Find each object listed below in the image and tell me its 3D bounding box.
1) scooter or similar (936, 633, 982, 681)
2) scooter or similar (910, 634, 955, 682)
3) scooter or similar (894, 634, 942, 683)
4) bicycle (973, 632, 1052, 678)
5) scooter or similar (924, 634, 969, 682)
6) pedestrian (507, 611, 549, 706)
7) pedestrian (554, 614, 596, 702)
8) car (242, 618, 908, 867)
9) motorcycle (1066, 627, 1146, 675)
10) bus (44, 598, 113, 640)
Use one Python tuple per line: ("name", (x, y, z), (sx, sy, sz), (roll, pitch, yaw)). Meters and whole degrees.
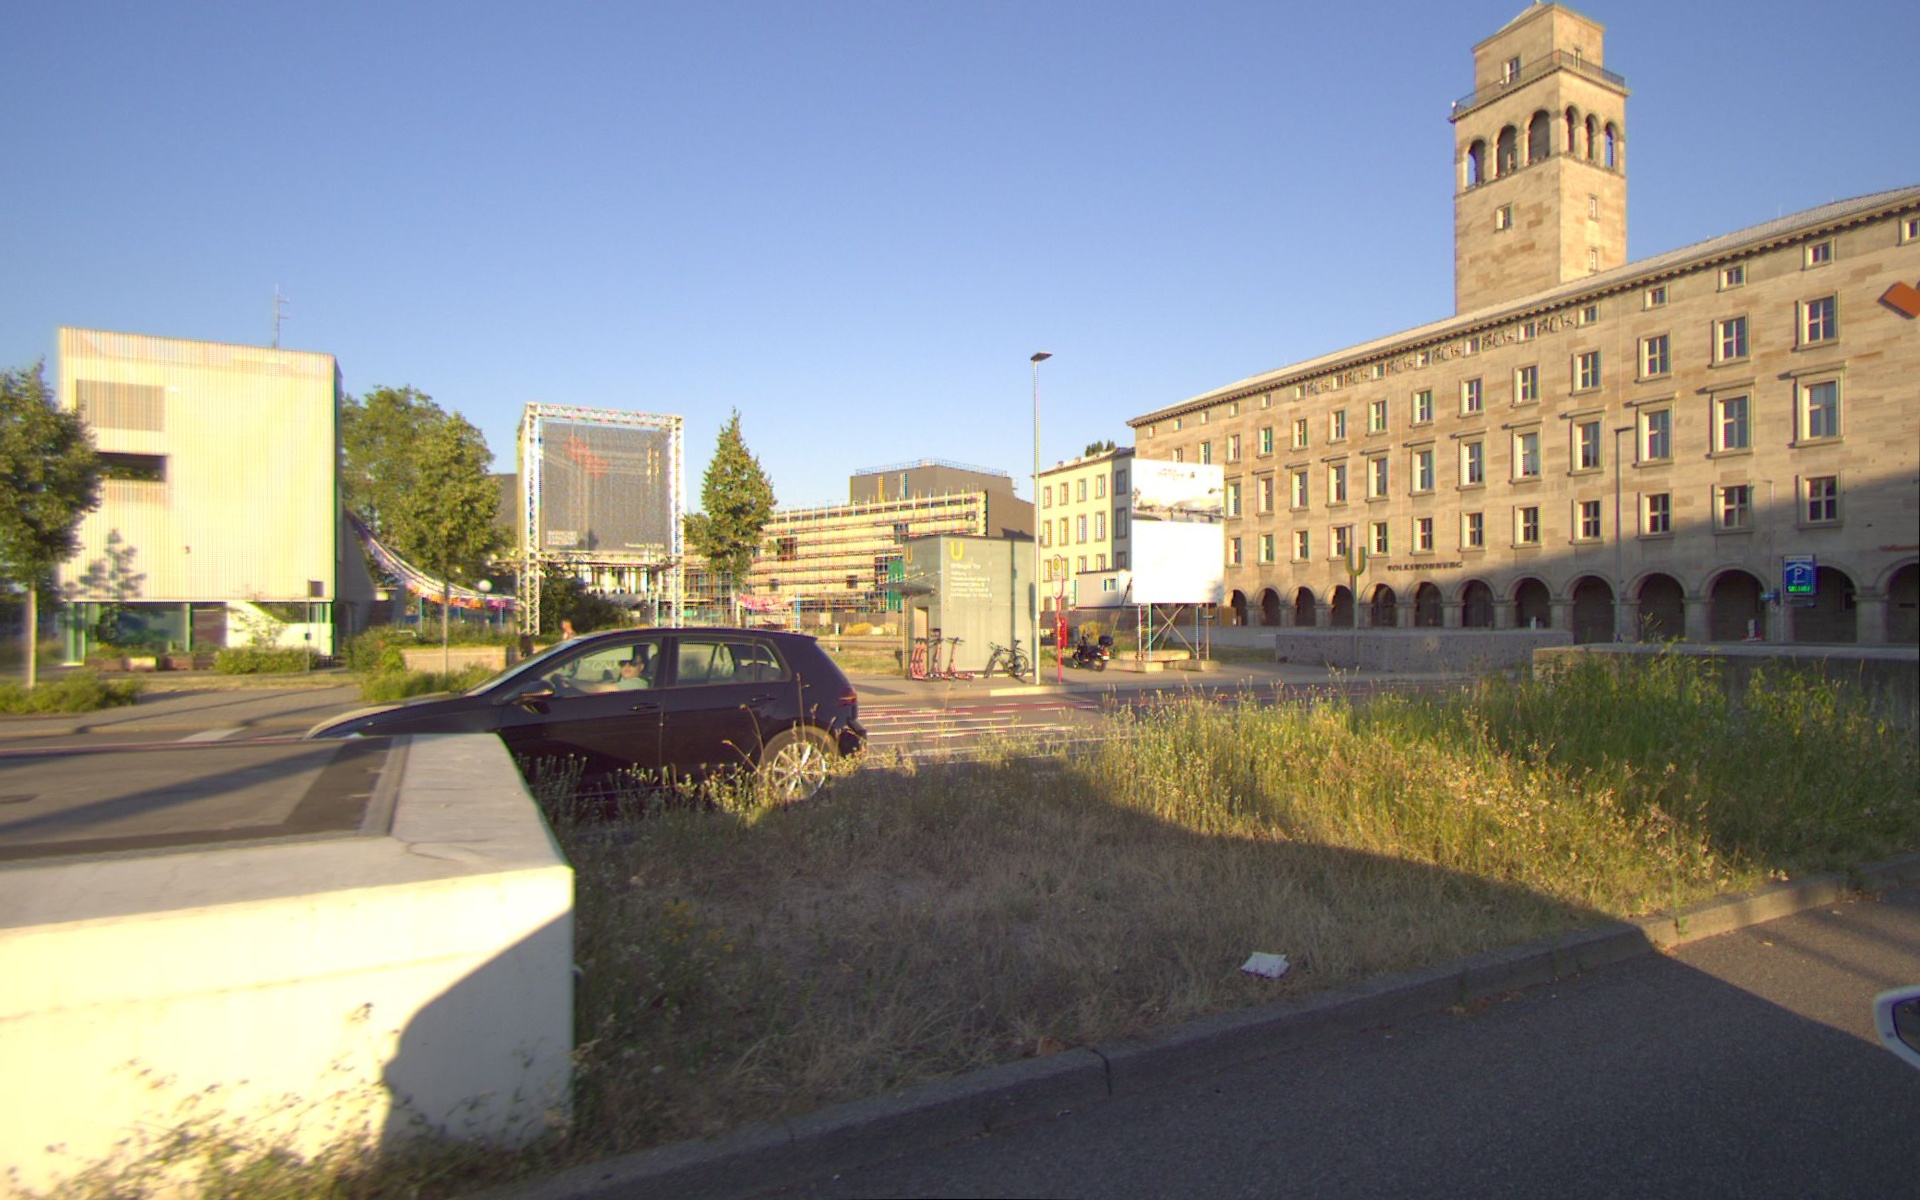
("scooter or similar", (-0.041, 1.652, 29.395), (0.419, 1.322, 1.824), (1, -1, -33))
("scooter or similar", (-0.809, 1.652, 28.893), (0.413, 1.322, 1.776), (1, -1, -33))
("scooter or similar", (-1.213, 1.639, 28.589), (0.495, 1.322, 1.847), (1, -1, -33))
("bicycle", (1.610, 1.640, 30.502), (2.480, 1.341, 0.614), (1, -1, -30))
("scooter or similar", (-0.406, 1.652, 29.152), (0.419, 1.322, 1.819), (1, -1, -33))
("pedestrian", (-9.167, 1.222, 21.286), (0.765, 1.959, 0.629), (-1, 1, -27))
("pedestrian", (-8.333, 1.234, 21.738), (0.765, 1.861, 0.869), (0, -1, -27))
("car", (-2.825, 0.896, 7.991), (4.483, 1.485, 1.878), (0, -1, -30))
("motorcycle", (4.762, 1.655, 33.148), (0.830, 1.401, 3.218), (1, 0, -29))
("bus", (-83.101, 1.820, 94.872), (3.519, 3.764, 8.844), (1, -1, -33))
